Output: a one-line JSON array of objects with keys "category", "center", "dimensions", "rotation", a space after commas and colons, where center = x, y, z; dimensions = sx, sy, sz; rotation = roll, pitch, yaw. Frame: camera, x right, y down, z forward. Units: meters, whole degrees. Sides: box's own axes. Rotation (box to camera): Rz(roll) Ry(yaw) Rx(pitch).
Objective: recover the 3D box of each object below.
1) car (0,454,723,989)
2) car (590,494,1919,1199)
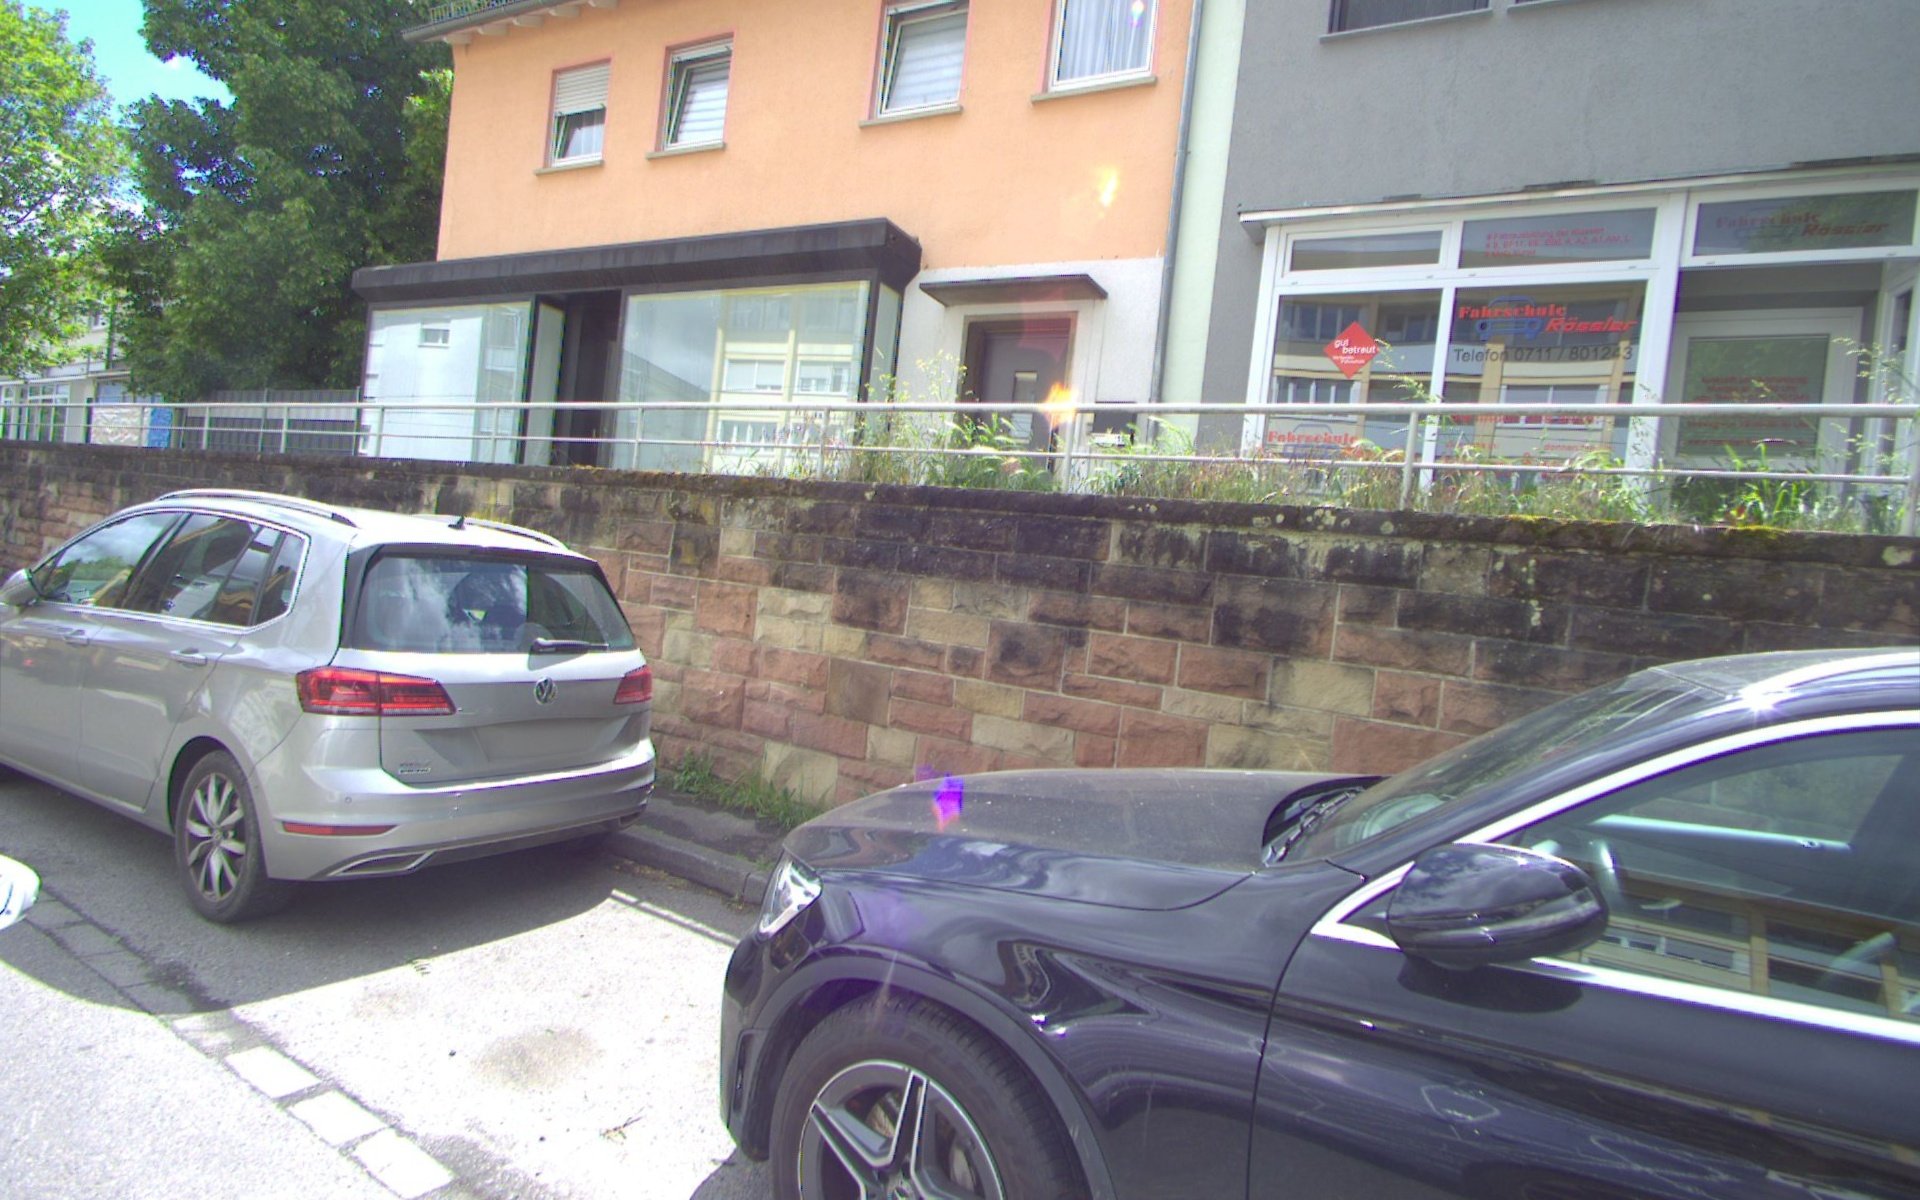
[{"category": "car", "center": [-3.422, 0.263, 5.040], "dimensions": [4.177, 1.638, 1.791], "rotation": [7, 1, 31]}, {"category": "car", "center": [1.544, 0.834, 1.913], "dimensions": [4.373, 1.639, 1.791], "rotation": [7, 2, 31]}]
